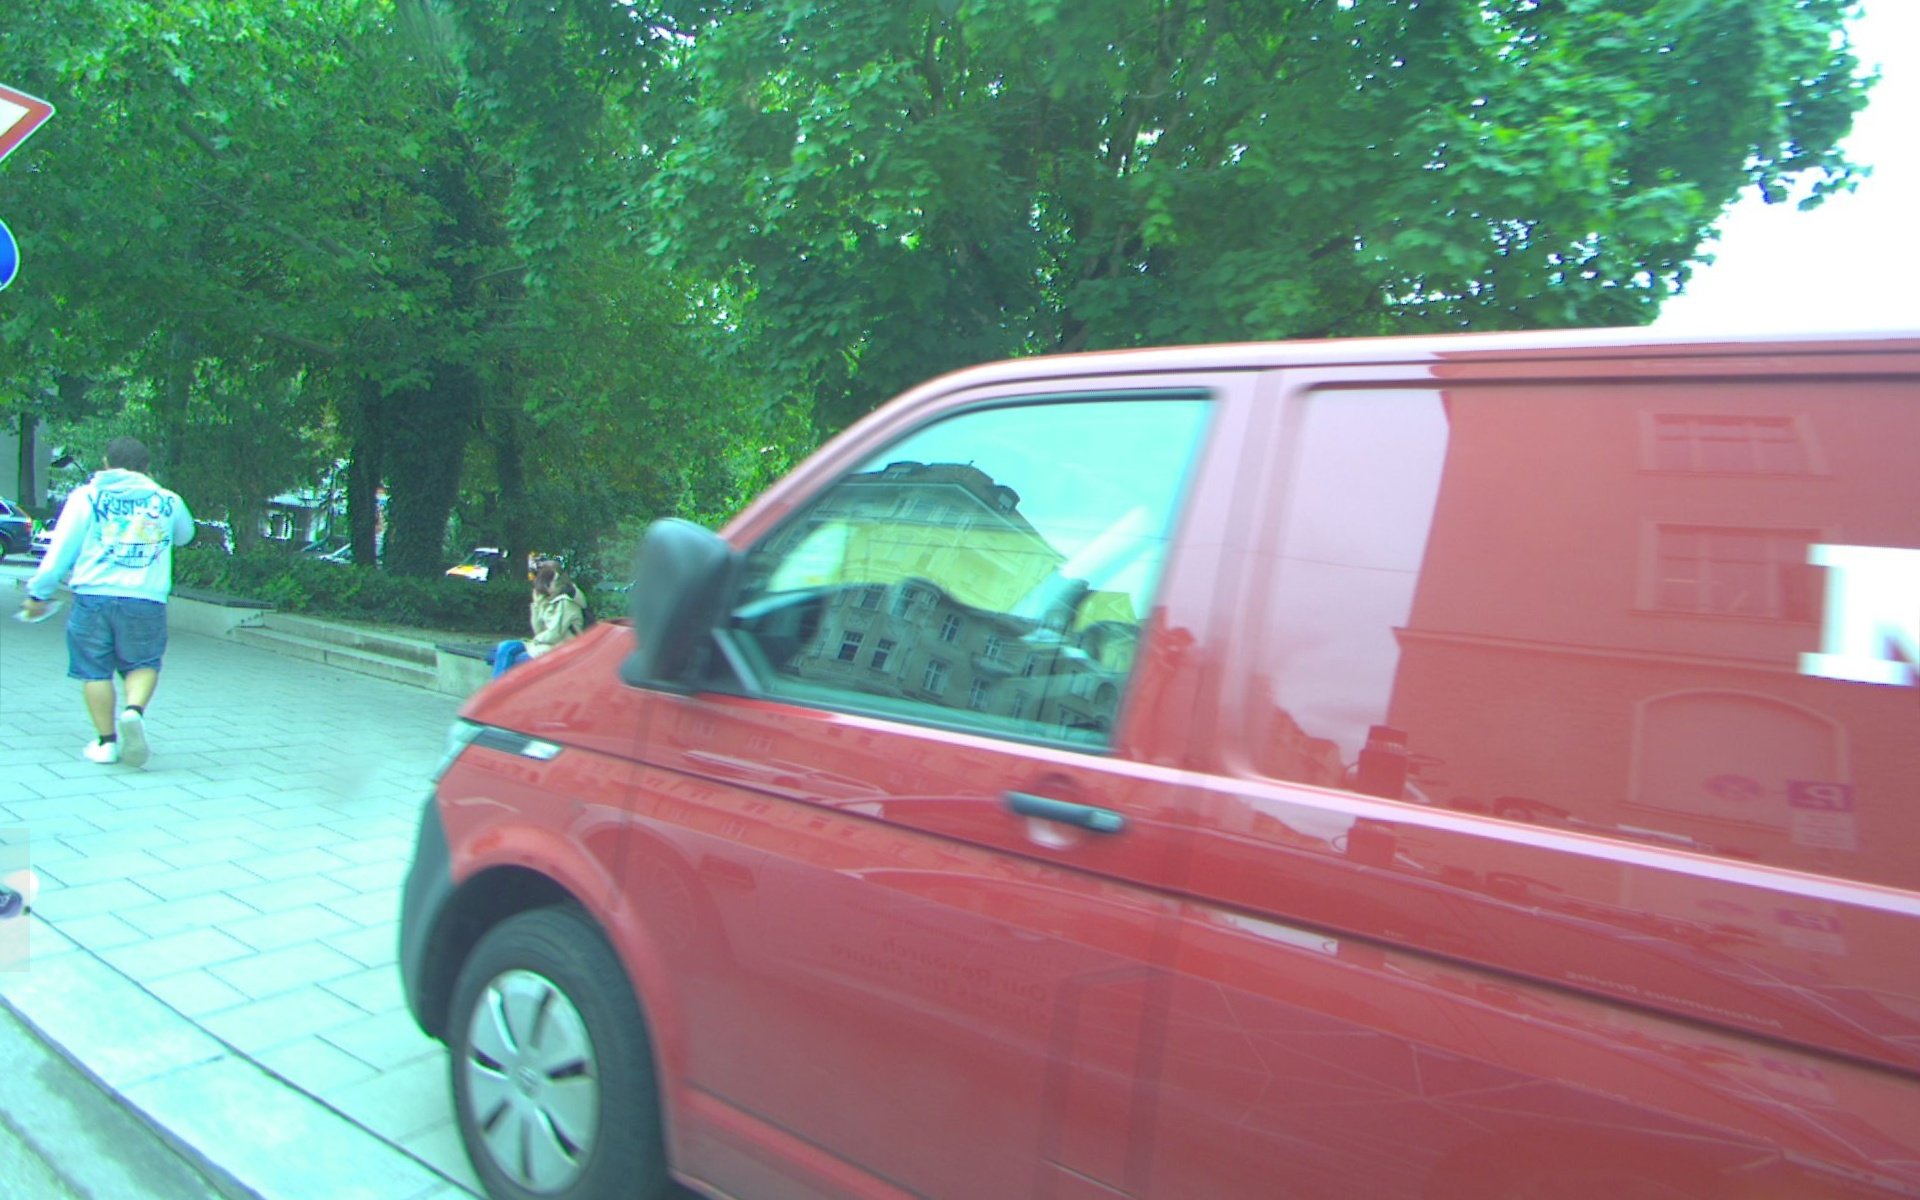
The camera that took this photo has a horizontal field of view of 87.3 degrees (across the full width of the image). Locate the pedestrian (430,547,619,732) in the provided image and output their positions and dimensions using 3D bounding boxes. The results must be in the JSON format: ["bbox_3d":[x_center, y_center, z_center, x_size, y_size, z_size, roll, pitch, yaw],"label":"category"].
[{"bbox_3d":[-3.564,0.324,8.265,0.863,1.354,1.010,6,0,34],"label":"pedestrian"}]

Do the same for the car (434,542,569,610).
[{"bbox_3d":[-19.267,-0.932,42.569,1.917,2.299,5.244,5,-1,20],"label":"car"}]

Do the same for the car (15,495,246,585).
[{"bbox_3d":[-24.079,-1.666,29.463,1.802,1.941,4.849,5,-2,22],"label":"car"}]

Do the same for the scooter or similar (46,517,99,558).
[{"bbox_3d":[-30.408,-2.140,34.489,0.393,1.208,1.215,6,-1,25],"label":"scooter or similar"}]

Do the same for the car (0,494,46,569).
[{"bbox_3d":[-25.946,-1.960,24.569,1.964,1.813,4.913,5,-2,22],"label":"car"}]

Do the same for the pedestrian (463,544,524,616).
[{"bbox_3d":[-12.876,-0.539,27.798,0.860,1.854,1.052,6,0,21],"label":"pedestrian"}]

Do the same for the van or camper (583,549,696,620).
[{"bbox_3d":[-16.067,-0.710,50.924,1.970,2.980,6.012,5,-1,20],"label":"van or camper"}]

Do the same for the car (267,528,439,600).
[{"bbox_3d":[-21.509,-1.203,35.954,1.858,1.956,5.210,5,-2,18],"label":"car"}]

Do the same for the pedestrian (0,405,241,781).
[{"bbox_3d":[-4.589,-0.024,5.443,0.871,1.793,1.039,6,0,-44],"label":"pedestrian"}]

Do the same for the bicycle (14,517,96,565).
[{"bbox_3d":[-26.440,-1.716,29.386,1.796,1.163,0.537,7,0,0],"label":"bicycle"}]

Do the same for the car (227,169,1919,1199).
[{"bbox_3d":[0.839,0.571,2.089,4.805,1.943,1.878,6,-2,30],"label":"car"}]

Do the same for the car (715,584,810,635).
[{"bbox_3d":[-8.807,0.479,45.332,1.960,1.861,4.715,5,-2,19],"label":"car"}]
